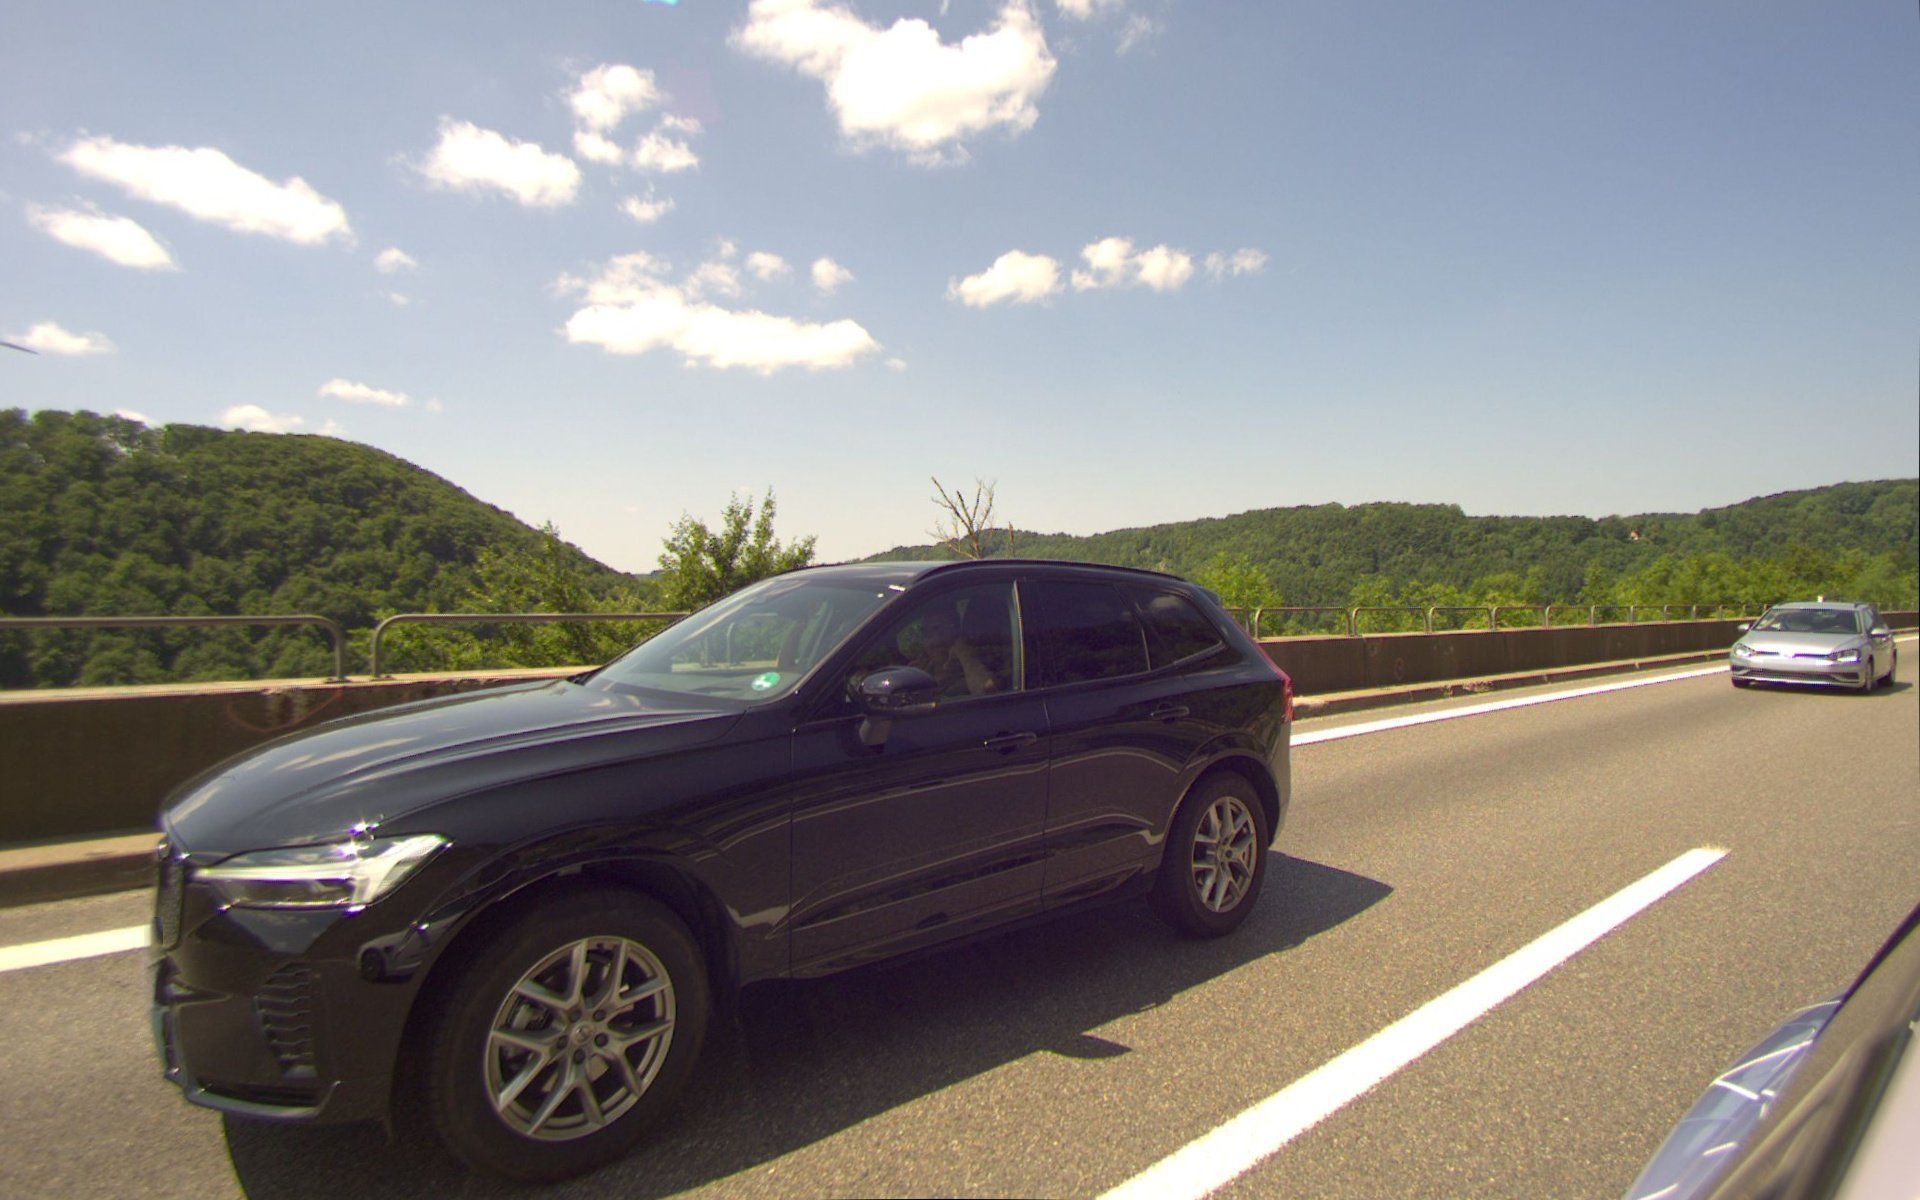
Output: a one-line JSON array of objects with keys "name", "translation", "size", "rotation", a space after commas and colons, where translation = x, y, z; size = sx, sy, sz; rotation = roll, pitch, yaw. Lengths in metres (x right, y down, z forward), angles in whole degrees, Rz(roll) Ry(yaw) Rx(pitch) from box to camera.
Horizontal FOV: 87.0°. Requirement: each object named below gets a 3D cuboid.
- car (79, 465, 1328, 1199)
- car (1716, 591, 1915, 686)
[{"name": "car", "translation": [-0.512, 0.598, 4.097], "size": [4.582, 1.654, 1.837], "rotation": [0, -1, -42]}, {"name": "car", "translation": [14.761, 0.563, 17.387], "size": [4.219, 1.395, 1.971], "rotation": [-1, 1, -41]}]
